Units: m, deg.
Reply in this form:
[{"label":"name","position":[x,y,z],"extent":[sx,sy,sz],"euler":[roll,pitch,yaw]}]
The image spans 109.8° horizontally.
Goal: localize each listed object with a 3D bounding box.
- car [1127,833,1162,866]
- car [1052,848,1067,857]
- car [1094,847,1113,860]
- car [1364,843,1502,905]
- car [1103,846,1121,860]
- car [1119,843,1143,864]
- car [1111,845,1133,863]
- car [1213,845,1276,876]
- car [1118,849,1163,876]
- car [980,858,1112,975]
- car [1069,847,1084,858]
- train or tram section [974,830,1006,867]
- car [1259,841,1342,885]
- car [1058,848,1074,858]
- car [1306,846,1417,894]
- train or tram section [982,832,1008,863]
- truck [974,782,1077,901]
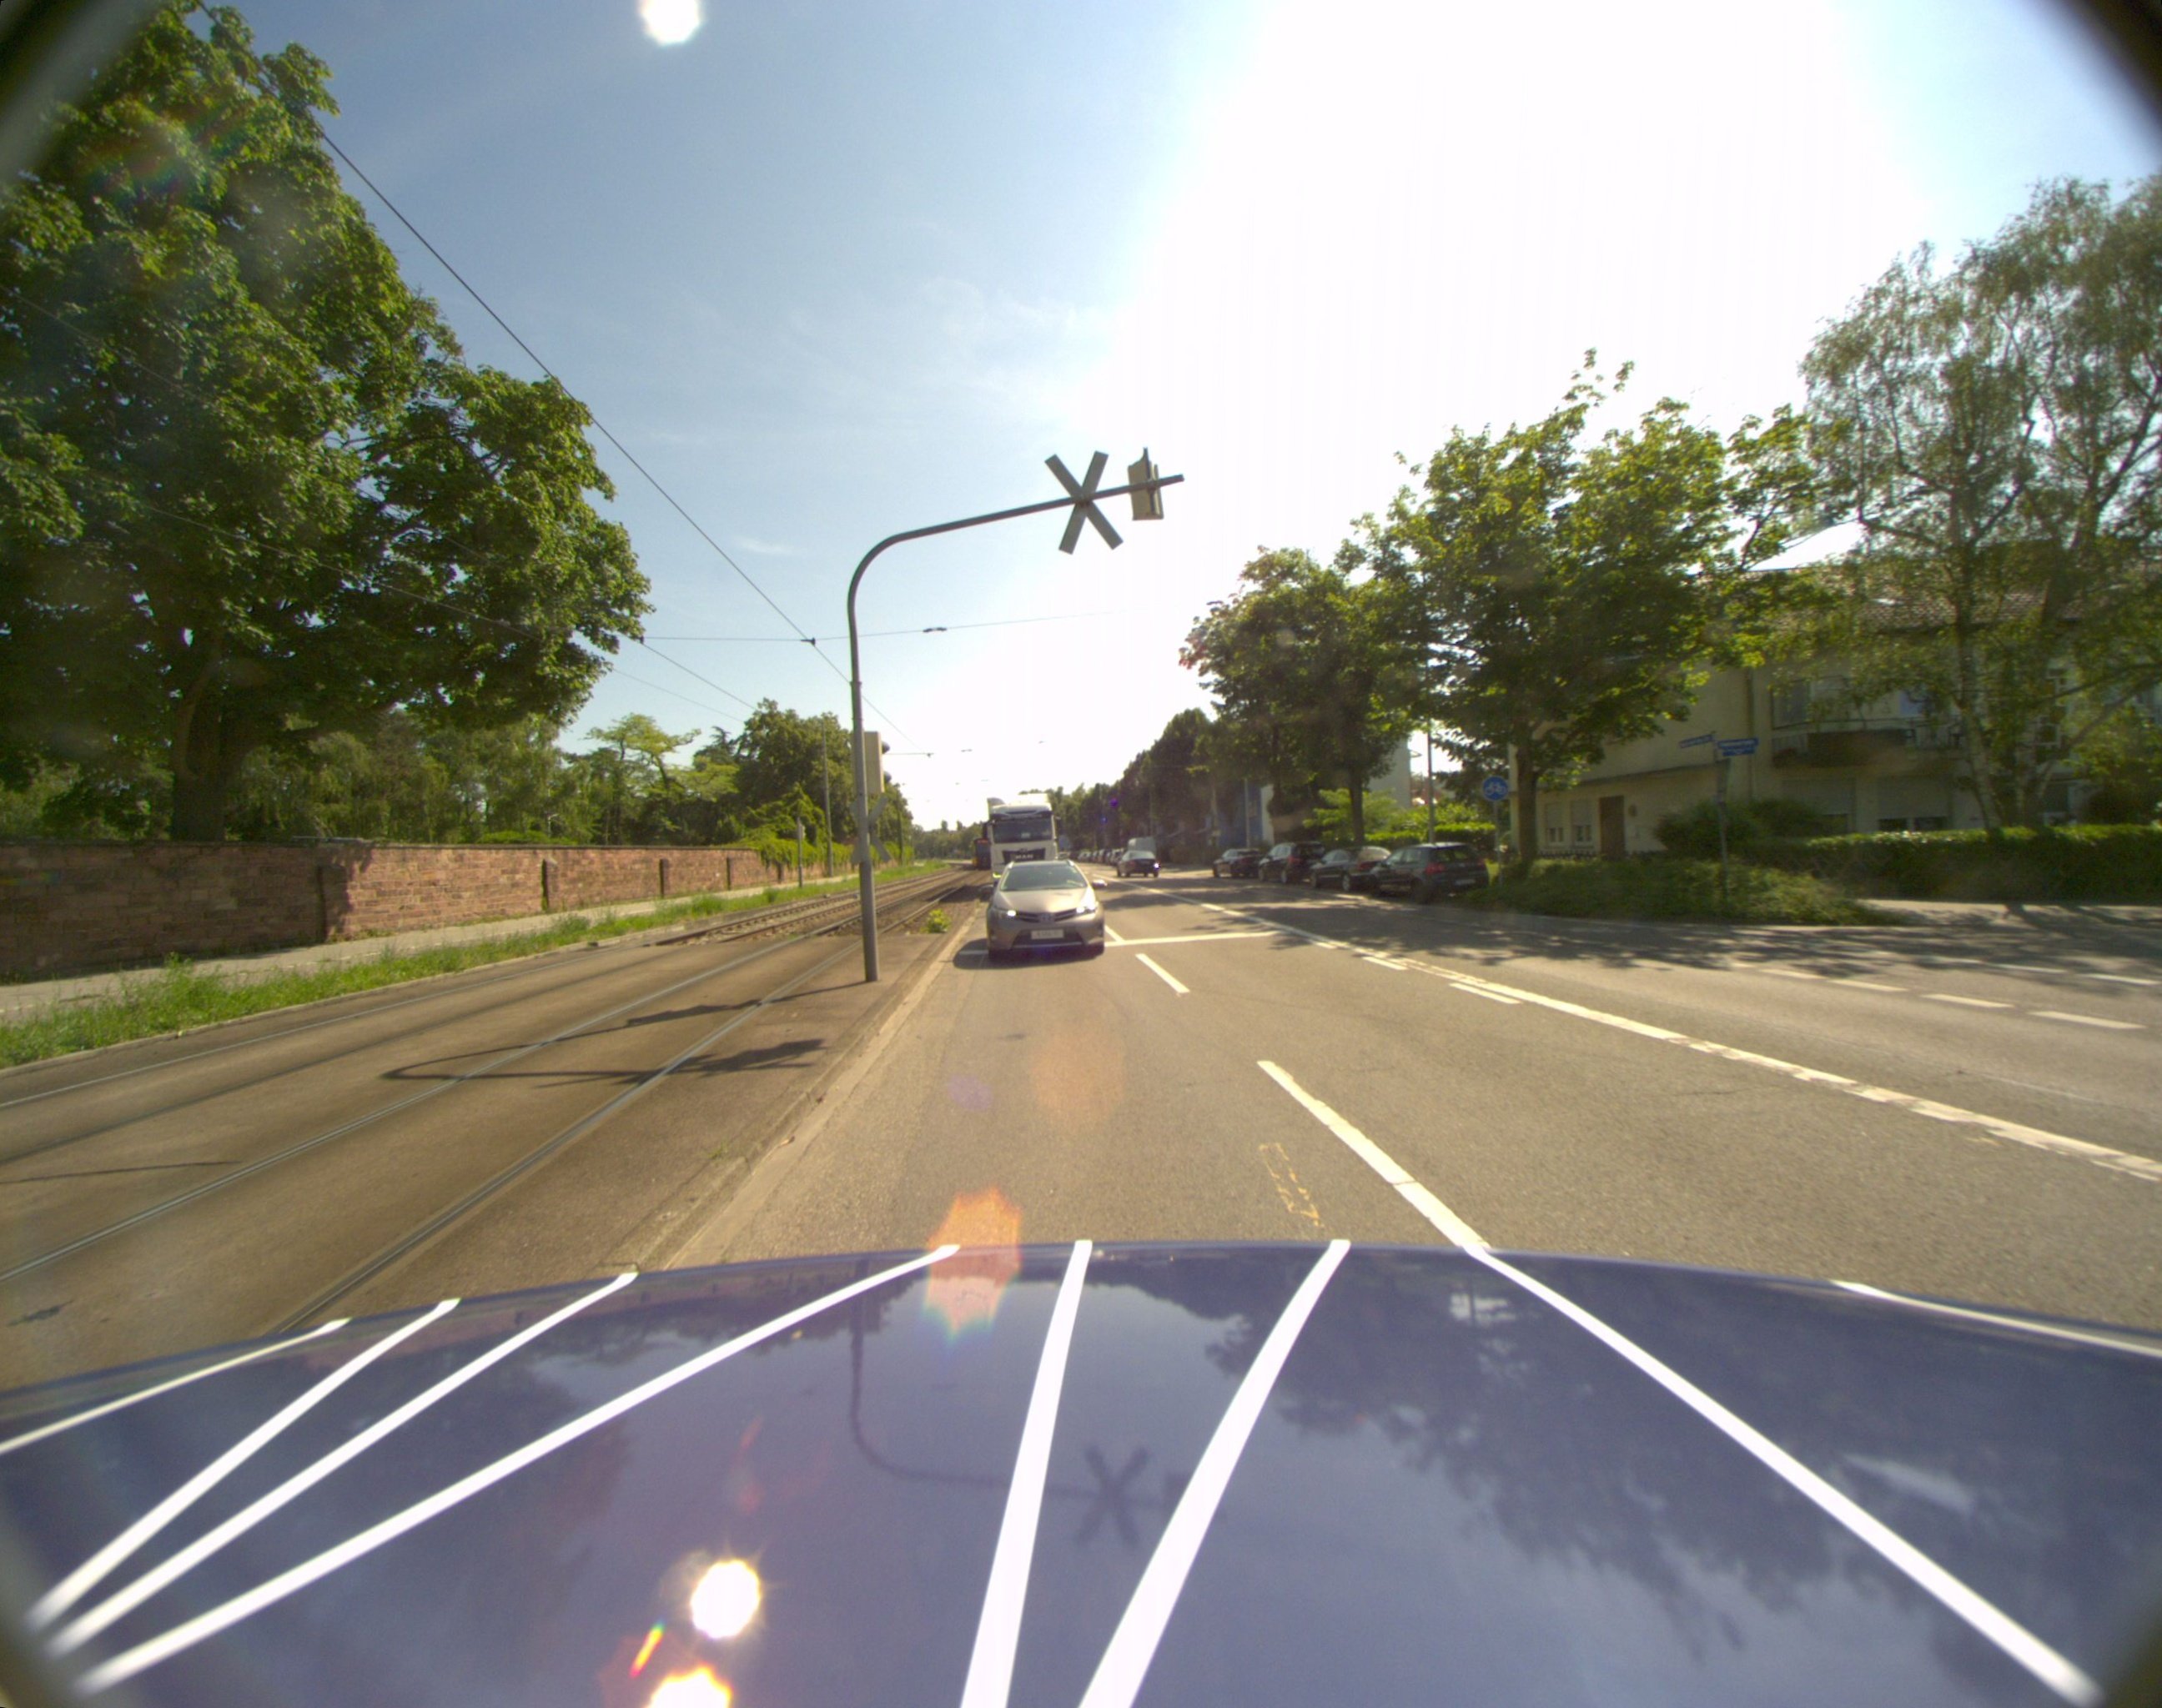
[{"label":"car","position":[5.645,-0.394,68.430],"extent":[2.017,2.636,6.083],"euler":[-6,1,-4]},{"label":"car","position":[-3.752,-0.241,134.200],"extent":[1.681,1.493,3.761],"euler":[-6,1,-15]},{"label":"car","position":[2.880,-0.022,98.184],"extent":[1.680,1.493,3.763],"euler":[-6,1,-8]},{"label":"car","position":[9.253,0.471,20.361],"extent":[1.620,1.442,4.081],"euler":[-2,1,-3]},{"label":"car","position":[3.739,-0.097,92.444],"extent":[1.679,1.493,3.764],"euler":[-6,1,-4]},{"label":"car","position":[4.983,-0.072,76.732],"extent":[1.679,1.925,4.455],"euler":[-6,1,-4]},{"label":"car","position":[4.425,-0.019,82.348],"extent":[1.679,1.659,4.146],"euler":[-6,1,-4]},{"label":"car","position":[8.010,0.288,37.551],"extent":[1.680,1.427,4.455],"euler":[-2,1,-6]},{"label":"car","position":[3.194,0.431,41.623],"extent":[1.790,1.401,4.302],"euler":[-1,0,-4]},{"label":"car","position":[-0.628,0.867,12.431],"extent":[1.720,1.439,4.028],"euler":[-4,1,-4]},{"label":"car","position":[-0.711,-0.197,120.923],"extent":[1.680,1.493,3.763],"euler":[-6,1,-11]},{"label":"train or tram section","position":[-10.160,-0.701,85.965],"extent":[2.677,3.631,15.296],"euler":[-4,1,-4]},{"label":"car","position":[8.649,0.321,30.344],"extent":[1.680,1.603,4.240],"euler":[-2,1,-6]},{"label":"car","position":[-2.579,-0.227,129.524],"extent":[1.681,1.493,3.761],"euler":[-6,1,-15]},{"label":"car","position":[9.148,0.458,25.235],"extent":[1.701,1.387,4.579],"euler":[-2,1,-4]},{"label":"train or tram section","position":[-11.456,-0.958,102.995],"extent":[2.680,3.631,18.946],"euler":[-4,1,-5]},{"label":"truck","position":[-2.509,-0.567,34.301],"extent":[3.392,4.046,14.278],"euler":[-4,1,-4]}]
